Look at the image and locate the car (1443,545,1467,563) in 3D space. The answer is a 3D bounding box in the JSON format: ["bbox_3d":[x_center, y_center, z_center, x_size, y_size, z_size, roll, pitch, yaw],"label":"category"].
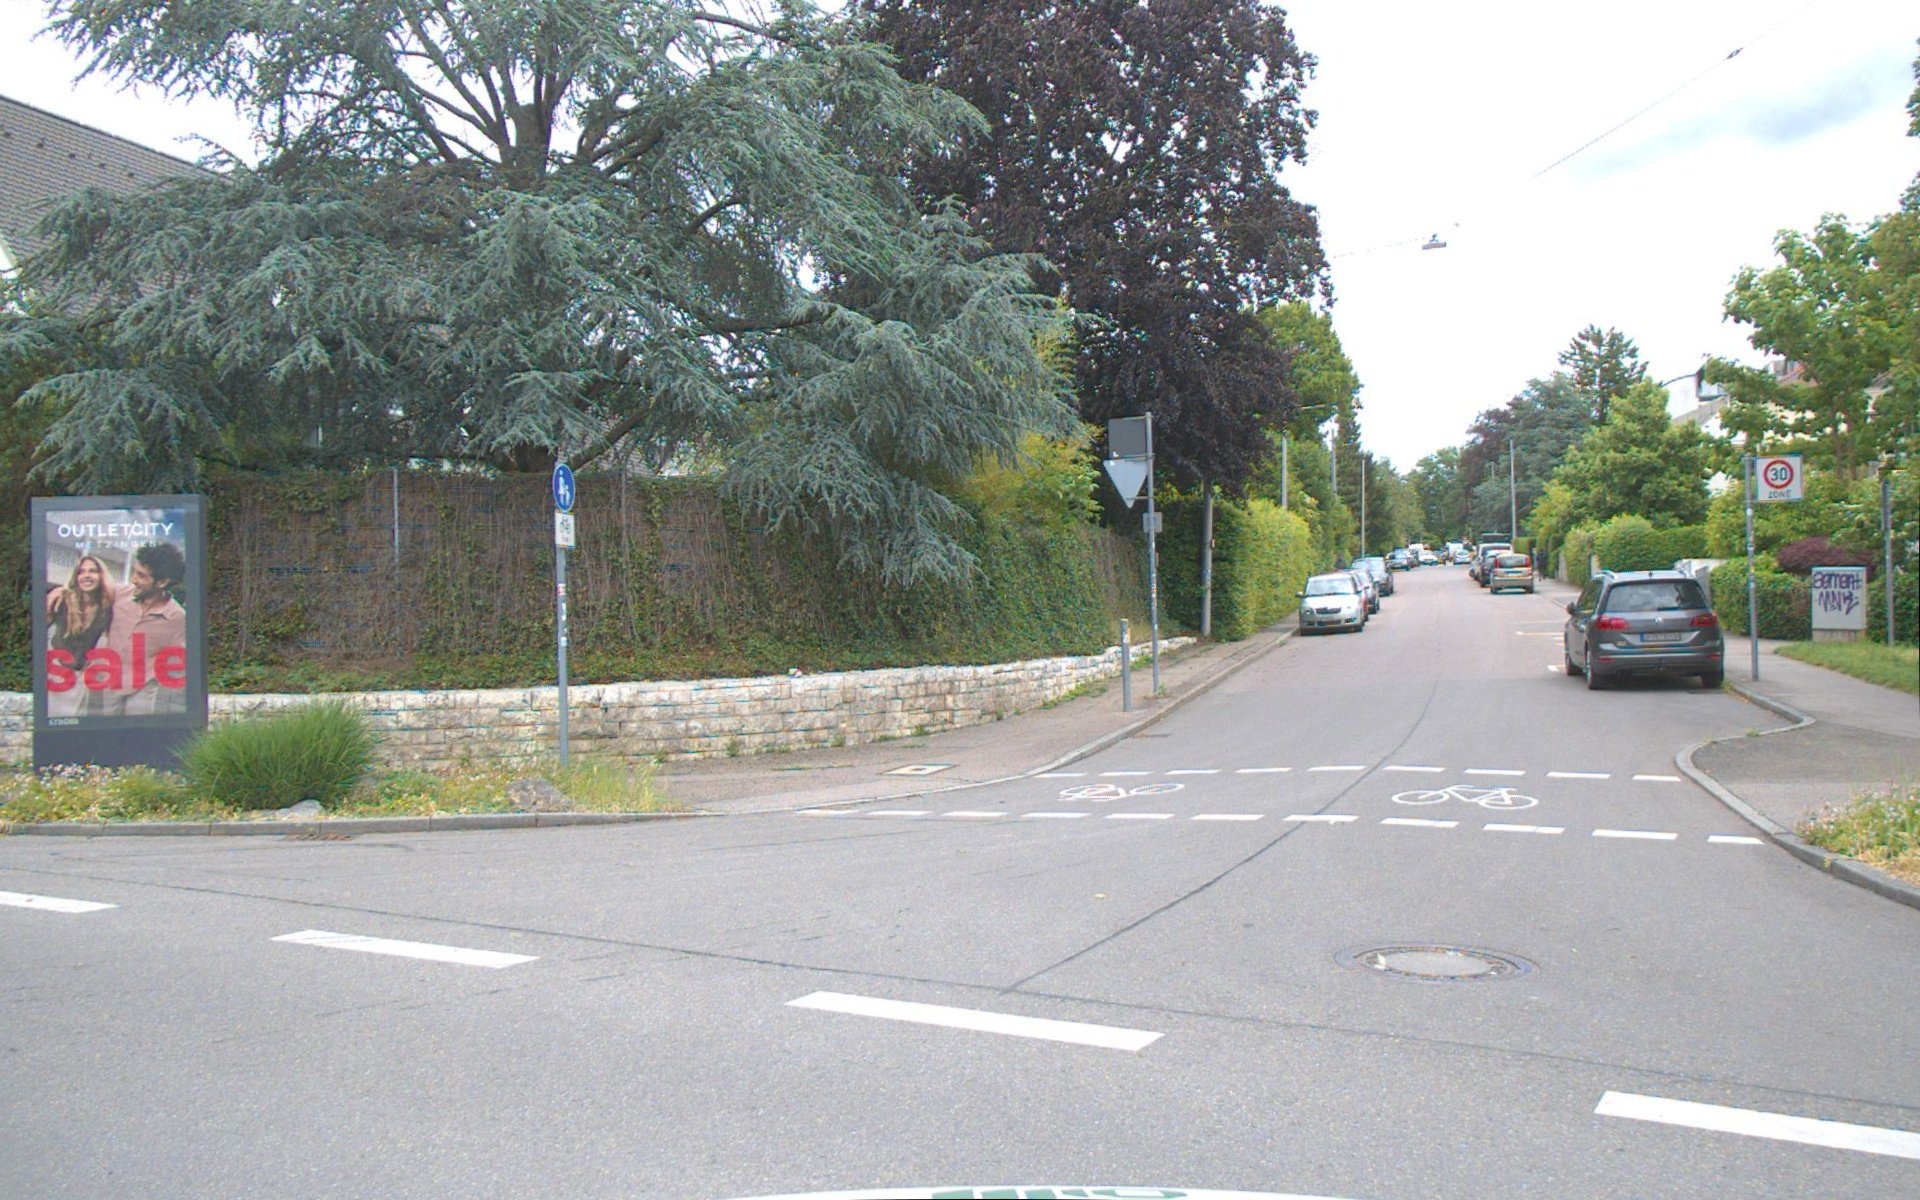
[{"bbox_3d":[50.652,-4.686,169.347,1.898,1.827,4.199,0,1,11],"label":"car"}]

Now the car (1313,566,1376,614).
[{"bbox_3d":[12.601,-0.344,54.209,1.905,1.467,4.003,-2,0,14],"label":"car"}]

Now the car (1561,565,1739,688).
[{"bbox_3d":[9.772,0.330,23.707,1.778,1.563,4.003,-2,0,15],"label":"car"}]

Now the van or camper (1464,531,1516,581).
[{"bbox_3d":[27.566,-2.243,86.189,2.067,2.447,5.250,-2,0,13],"label":"van or camper"}]

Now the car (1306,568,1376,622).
[{"bbox_3d":[11.363,-0.164,49.305,1.905,1.467,4.003,-2,0,14],"label":"car"}]

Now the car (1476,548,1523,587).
[{"bbox_3d":[24.437,-1.450,75.038,1.710,1.668,3.731,-2,0,14],"label":"car"}]

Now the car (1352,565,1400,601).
[{"bbox_3d":[17.913,-0.746,71.361,1.905,1.467,4.003,-2,0,14],"label":"car"}]

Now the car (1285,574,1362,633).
[{"bbox_3d":[9.784,0.067,44.389,1.905,1.467,4.003,-2,0,14],"label":"car"}]

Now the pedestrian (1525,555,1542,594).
[{"bbox_3d":[27.828,-1.225,80.290,0.741,1.904,0.620,0,1,15],"label":"pedestrian"}]

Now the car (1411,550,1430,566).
[{"bbox_3d":[41.641,-3.785,149.592,1.620,1.358,3.784,0,1,15],"label":"car"}]

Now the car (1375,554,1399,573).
[{"bbox_3d":[33.424,-2.833,129.424,1.678,1.488,3.659,0,1,15],"label":"car"}]

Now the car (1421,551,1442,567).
[{"bbox_3d":[50.567,-4.409,177.419,1.776,1.601,4.004,-2,0,11],"label":"car"}]

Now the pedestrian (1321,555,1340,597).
[{"bbox_3d":[18.079,-1.180,80.662,0.835,2.049,0.873,0,1,10],"label":"pedestrian"}]

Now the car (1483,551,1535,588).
[{"bbox_3d":[21.663,-1.192,65.351,1.574,1.438,3.476,0,1,13],"label":"car"}]
